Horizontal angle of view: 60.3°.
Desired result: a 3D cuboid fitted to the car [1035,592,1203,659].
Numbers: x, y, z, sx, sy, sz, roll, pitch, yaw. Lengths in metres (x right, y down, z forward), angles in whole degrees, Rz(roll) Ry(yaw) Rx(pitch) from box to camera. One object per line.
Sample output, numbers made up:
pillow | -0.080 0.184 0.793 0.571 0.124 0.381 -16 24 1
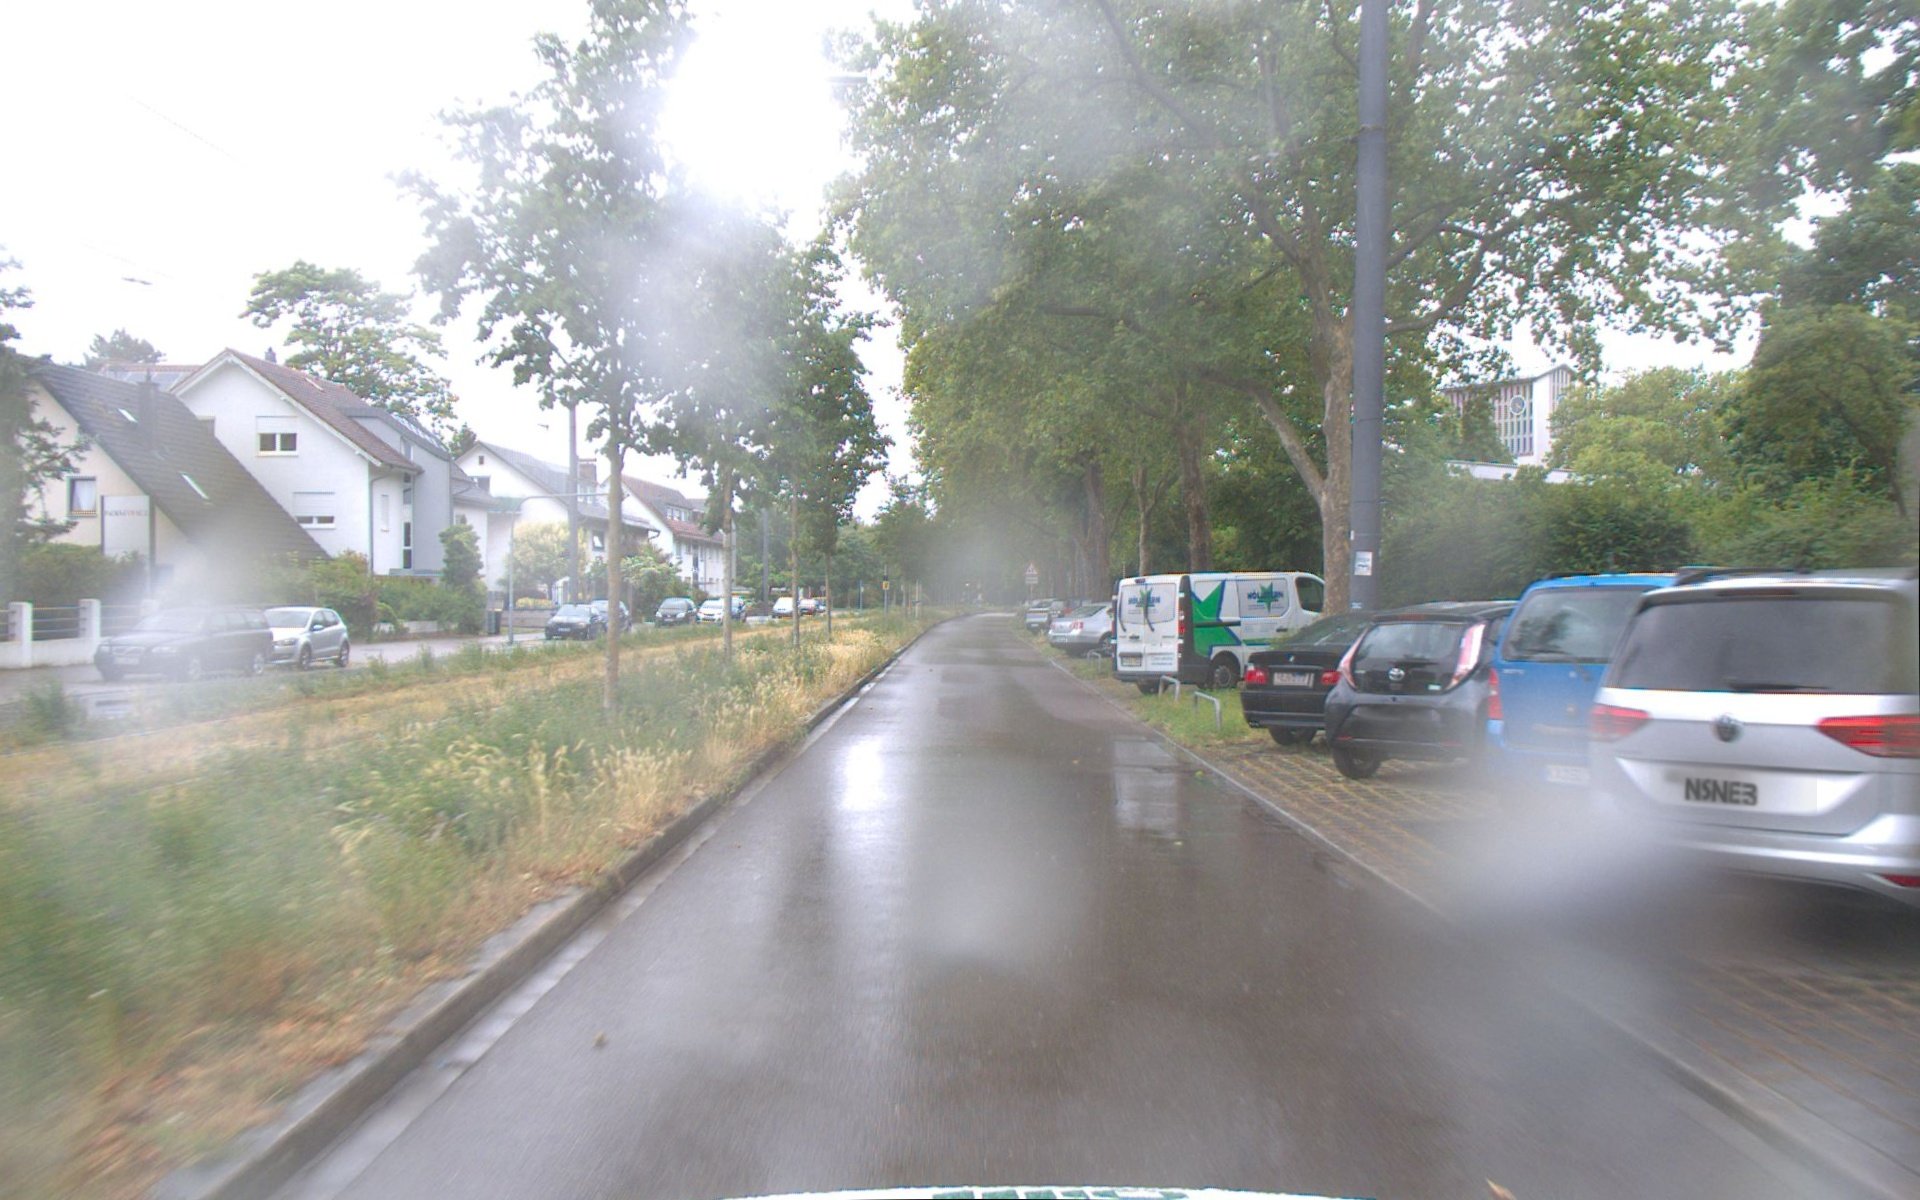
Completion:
car | 4.509 0.676 46.590 4.503 1.571 1.867 -4 2 -32

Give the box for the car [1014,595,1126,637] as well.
car | 4.798 0.678 72.033 4.723 1.697 1.969 -1 0 -37

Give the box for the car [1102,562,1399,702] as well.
car | 4.919 0.460 27.653 4.973 2.048 1.975 -2 1 -35

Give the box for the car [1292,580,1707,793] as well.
car | 4.702 0.666 14.300 3.370 1.545 1.825 -2 0 -38

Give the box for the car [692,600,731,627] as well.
car | -15.297 0.818 101.989 1.759 1.514 3.598 2 0 1

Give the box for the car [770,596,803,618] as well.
car | -13.869 0.557 132.454 1.952 1.608 4.518 2 0 1

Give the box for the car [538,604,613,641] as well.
car | -15.771 0.883 67.968 1.952 1.374 4.241 2 0 1

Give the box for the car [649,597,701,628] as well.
car | -15.526 0.655 90.185 1.952 1.542 4.206 2 0 1

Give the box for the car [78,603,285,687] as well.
car | -15.762 0.863 33.774 1.952 1.481 4.532 2 0 1

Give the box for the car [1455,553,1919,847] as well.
car | 5.120 0.582 11.395 3.237 1.700 1.574 -2 0 -35

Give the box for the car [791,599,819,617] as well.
car | -13.710 0.719 146.465 1.952 1.514 4.206 2 0 1

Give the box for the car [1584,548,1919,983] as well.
car | 4.881 0.598 8.071 4.007 1.669 1.632 -1 1 -39

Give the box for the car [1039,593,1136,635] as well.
car | 5.113 0.551 66.056 3.667 1.593 1.601 -1 0 -33

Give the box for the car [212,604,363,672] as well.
car | -15.910 0.866 39.362 1.953 1.435 3.971 2 0 0

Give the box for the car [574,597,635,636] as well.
car | -15.663 0.713 73.028 1.835 1.577 3.870 2 0 0

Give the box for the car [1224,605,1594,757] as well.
car | 4.862 0.773 17.616 4.265 1.408 1.716 0 0 -40
